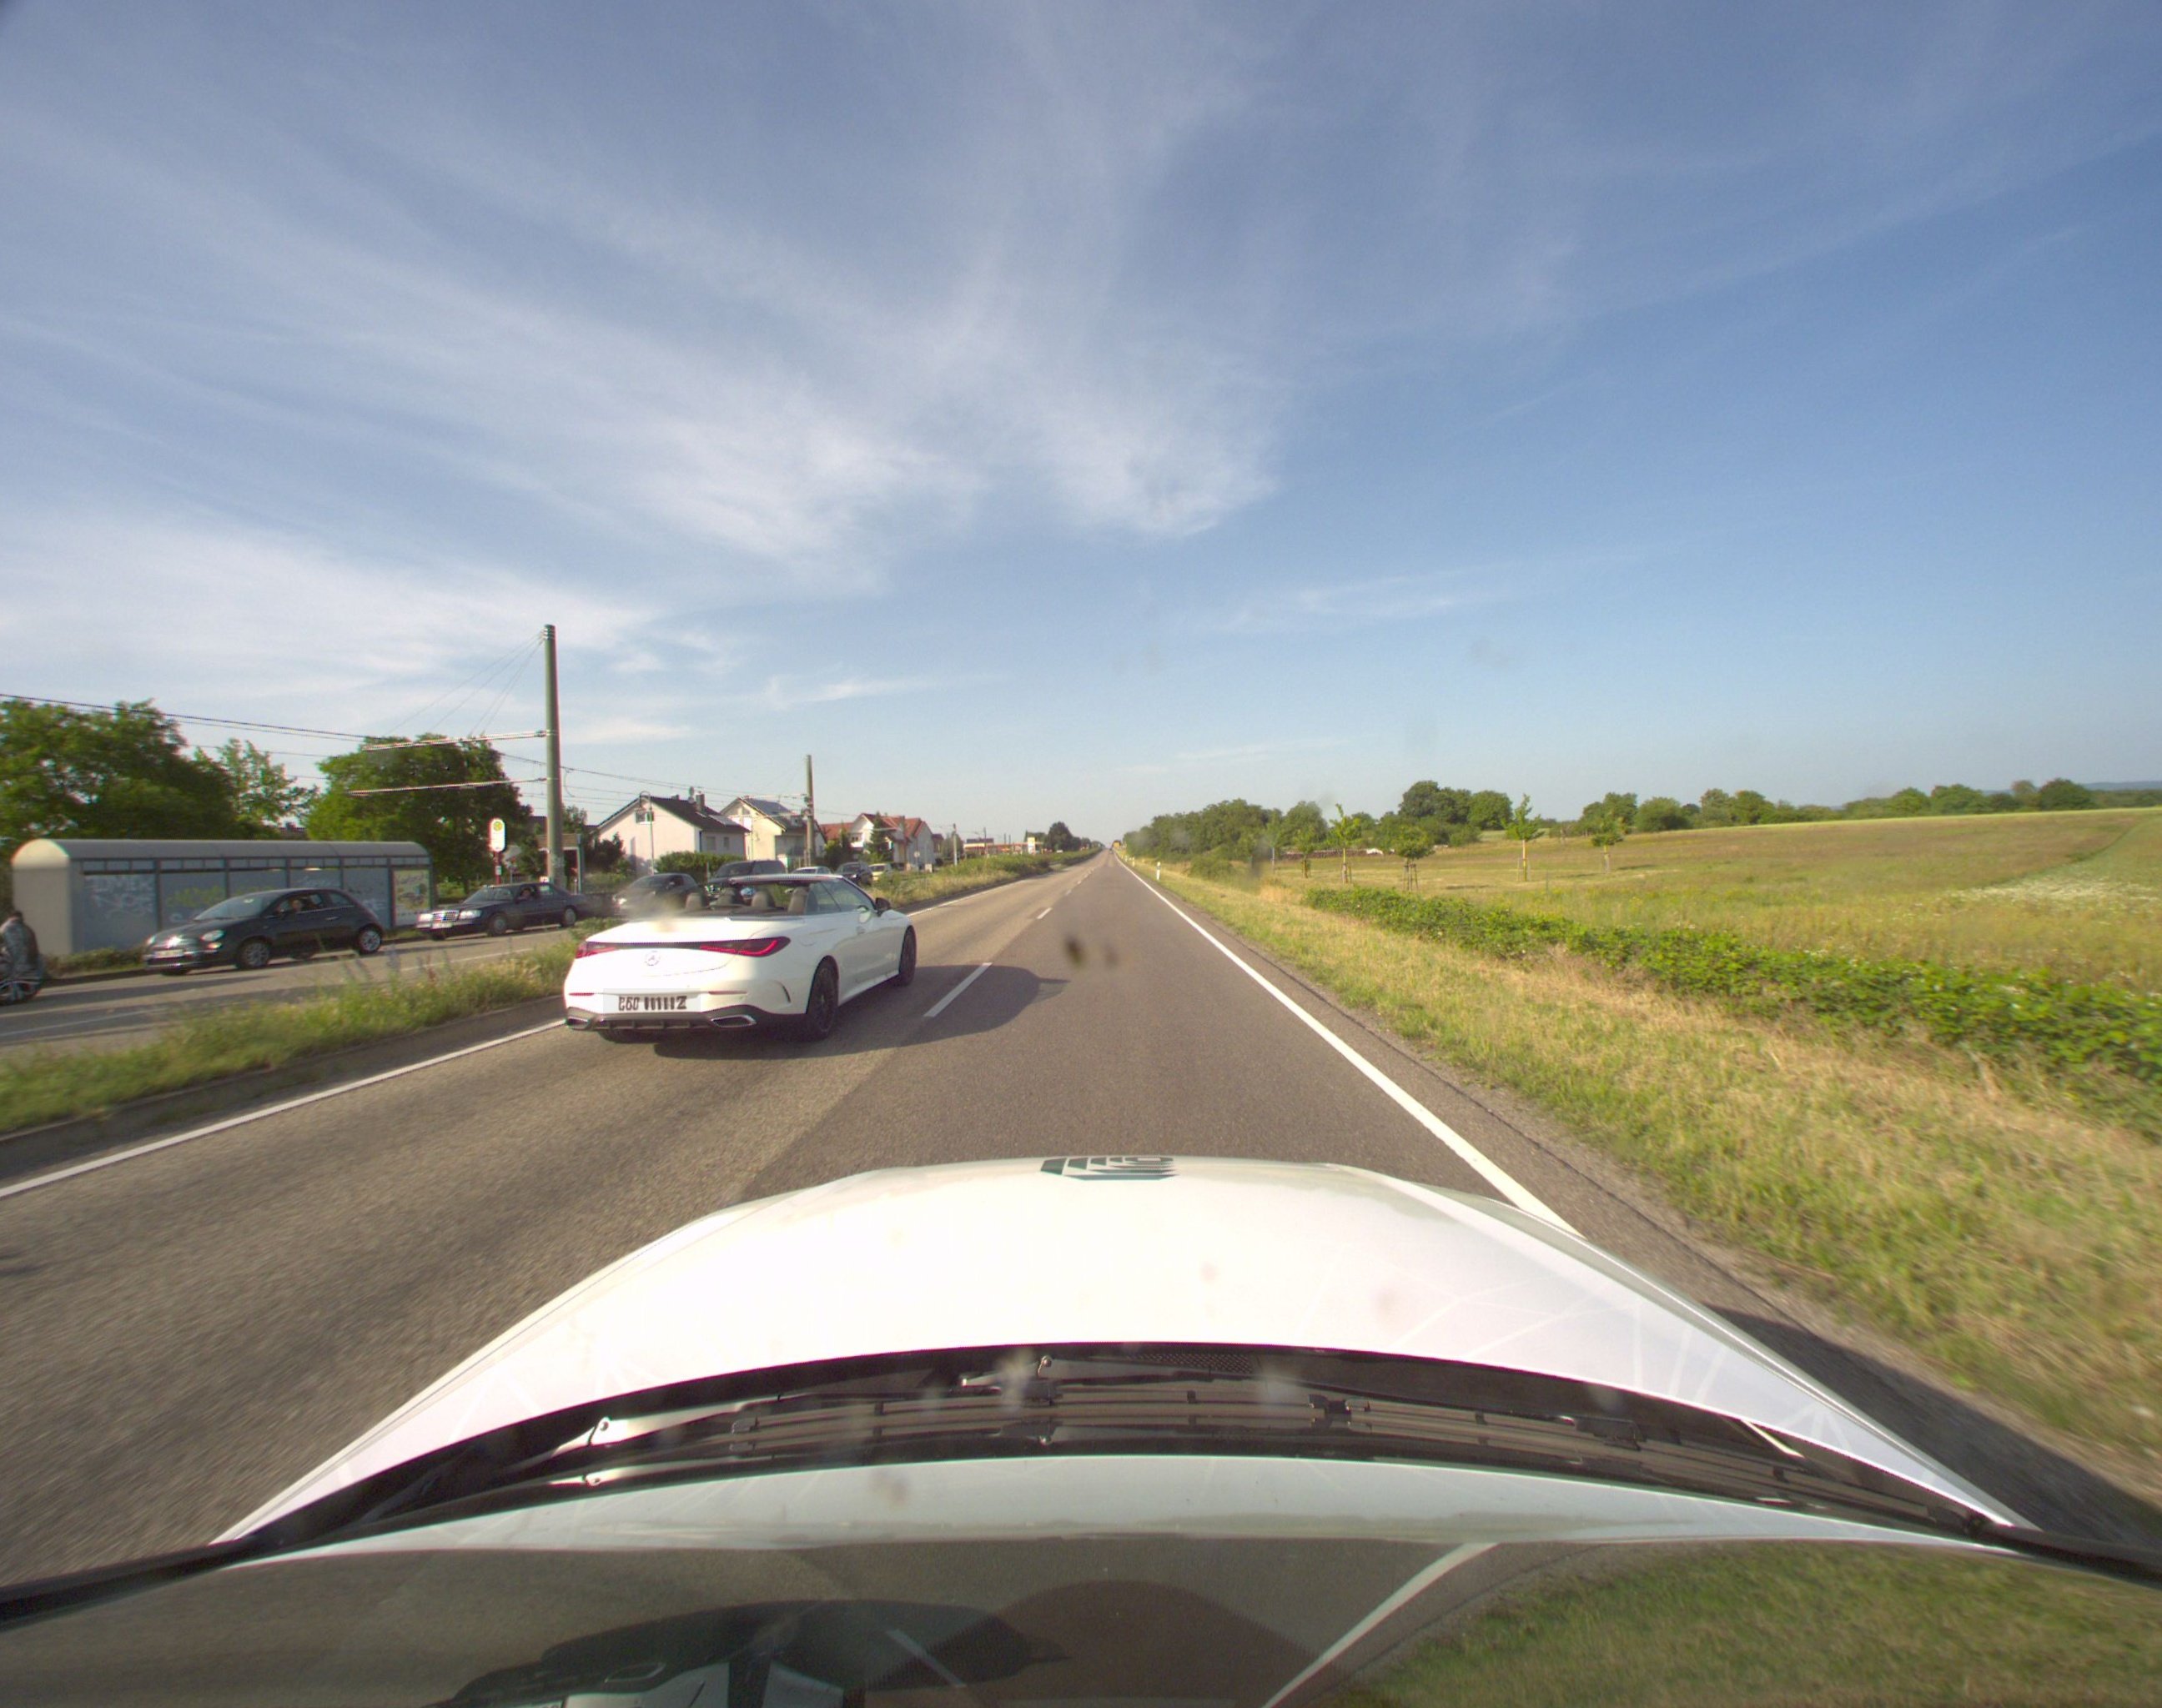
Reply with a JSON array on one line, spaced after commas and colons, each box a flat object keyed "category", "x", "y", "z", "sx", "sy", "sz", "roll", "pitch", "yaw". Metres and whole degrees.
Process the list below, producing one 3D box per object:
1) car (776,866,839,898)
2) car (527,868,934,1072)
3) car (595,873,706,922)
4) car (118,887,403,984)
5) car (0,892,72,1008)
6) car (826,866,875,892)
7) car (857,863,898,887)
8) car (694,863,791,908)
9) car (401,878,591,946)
[{"category": "car", "x": -14.566, "y": 1.457, "z": 43.580, "sx": 1.654, "sy": 1.431, "sz": 4.450, "roll": -4, "pitch": 0, "yaw": 2}, {"category": "car", "x": -2.914, "y": 0.862, "z": 8.191, "sx": 1.764, "sy": 1.337, "sz": 4.953, "roll": 0, "pitch": 0, "yaw": 2}, {"category": "car", "x": -15.307, "y": 1.515, "z": 29.230, "sx": 1.654, "sy": 1.431, "sz": 4.058, "roll": -4, "pitch": 0, "yaw": 2}, {"category": "car", "x": -15.970, "y": 1.505, "z": 16.178, "sx": 1.654, "sy": 1.431, "sz": 3.806, "roll": -4, "pitch": 0, "yaw": 2}, {"category": "car", "x": -15.679, "y": 1.383, "z": 9.632, "sx": 1.654, "sy": 1.562, "sz": 4.548, "roll": -4, "pitch": 0, "yaw": 2}, {"category": "car", "x": -14.472, "y": 1.537, "z": 51.330, "sx": 1.654, "sy": 1.431, "sz": 4.328, "roll": -4, "pitch": 0, "yaw": 2}, {"category": "car", "x": -14.520, "y": 1.473, "z": 58.317, "sx": 1.654, "sy": 1.431, "sz": 4.328, "roll": -4, "pitch": 0, "yaw": 2}, {"category": "car", "x": -14.899, "y": 1.338, "z": 36.223, "sx": 1.908, "sy": 1.683, "sz": 5.256, "roll": -4, "pitch": 0, "yaw": 2}, {"category": "car", "x": -15.896, "y": 1.512, "z": 22.516, "sx": 1.654, "sy": 1.431, "sz": 4.719, "roll": -4, "pitch": 0, "yaw": 2}]
